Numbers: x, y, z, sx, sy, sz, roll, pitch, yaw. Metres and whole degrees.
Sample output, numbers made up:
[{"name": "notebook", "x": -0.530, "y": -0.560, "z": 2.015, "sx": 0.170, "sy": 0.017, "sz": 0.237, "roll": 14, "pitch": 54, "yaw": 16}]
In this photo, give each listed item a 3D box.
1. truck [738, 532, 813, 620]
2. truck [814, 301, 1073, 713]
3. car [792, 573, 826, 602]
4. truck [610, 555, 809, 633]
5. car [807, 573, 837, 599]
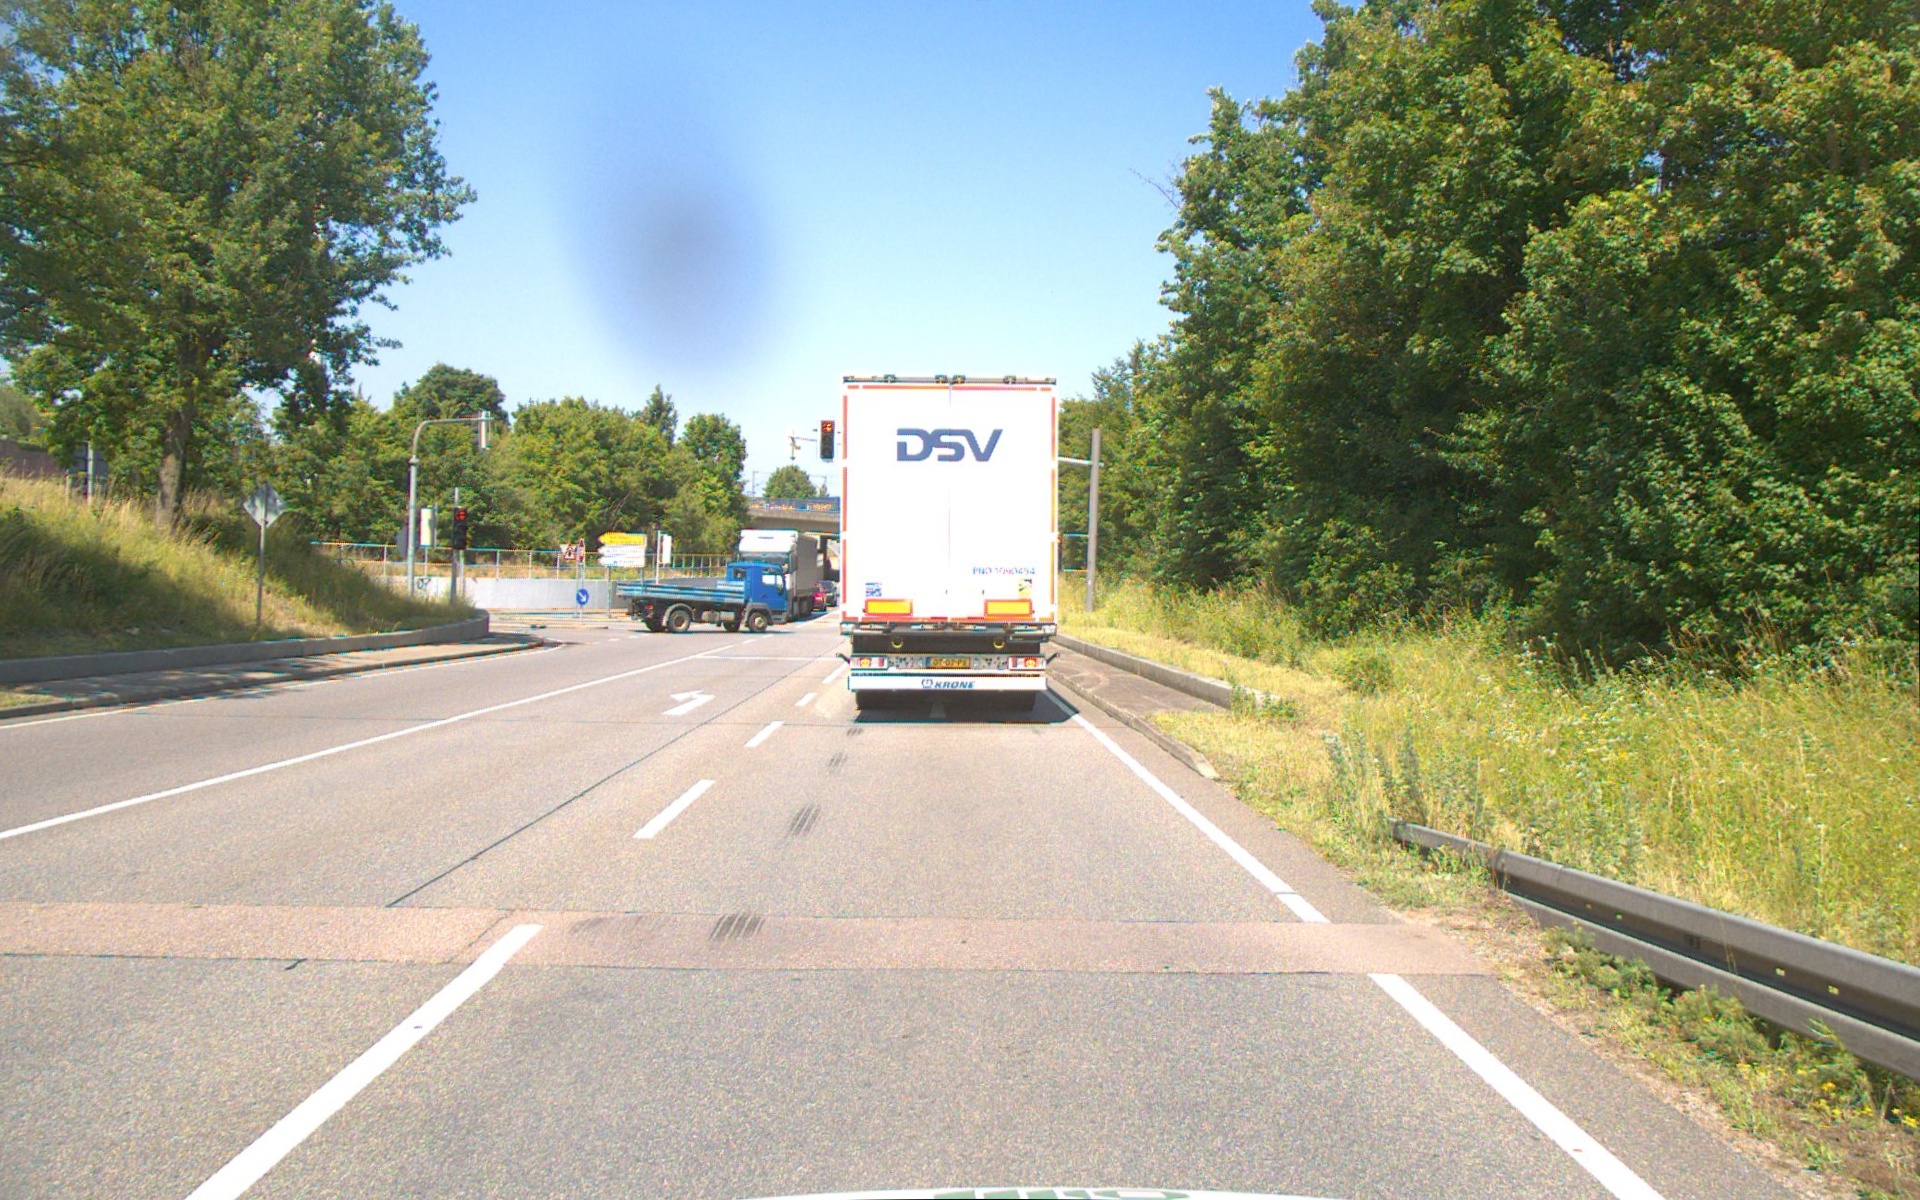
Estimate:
[{"name": "truck", "x": -8.611, "y": -1.158, "z": 78.631, "sx": 2.305, "sy": 3.815, "sz": 12.624, "roll": 1, "pitch": 1, "yaw": -1}, {"name": "truck", "x": -0.260, "y": -1.087, "z": 23.741, "sx": 2.890, "sy": 4.648, "sz": 9.861, "roll": 1, "pitch": 0, "yaw": -1}, {"name": "car", "x": -8.720, "y": -0.750, "z": 95.857, "sx": 1.711, "sy": 1.654, "sz": 3.702, "roll": 1, "pitch": 1, "yaw": -1}, {"name": "truck", "x": -8.711, "y": -0.179, "z": 57.835, "sx": 6.358, "sy": 2.543, "sz": 2.681, "roll": 1, "pitch": 0, "yaw": -36}, {"name": "car", "x": -9.097, "y": -0.948, "z": 109.221, "sx": 1.711, "sy": 1.654, "sz": 3.702, "roll": 1, "pitch": 1, "yaw": -1}]
